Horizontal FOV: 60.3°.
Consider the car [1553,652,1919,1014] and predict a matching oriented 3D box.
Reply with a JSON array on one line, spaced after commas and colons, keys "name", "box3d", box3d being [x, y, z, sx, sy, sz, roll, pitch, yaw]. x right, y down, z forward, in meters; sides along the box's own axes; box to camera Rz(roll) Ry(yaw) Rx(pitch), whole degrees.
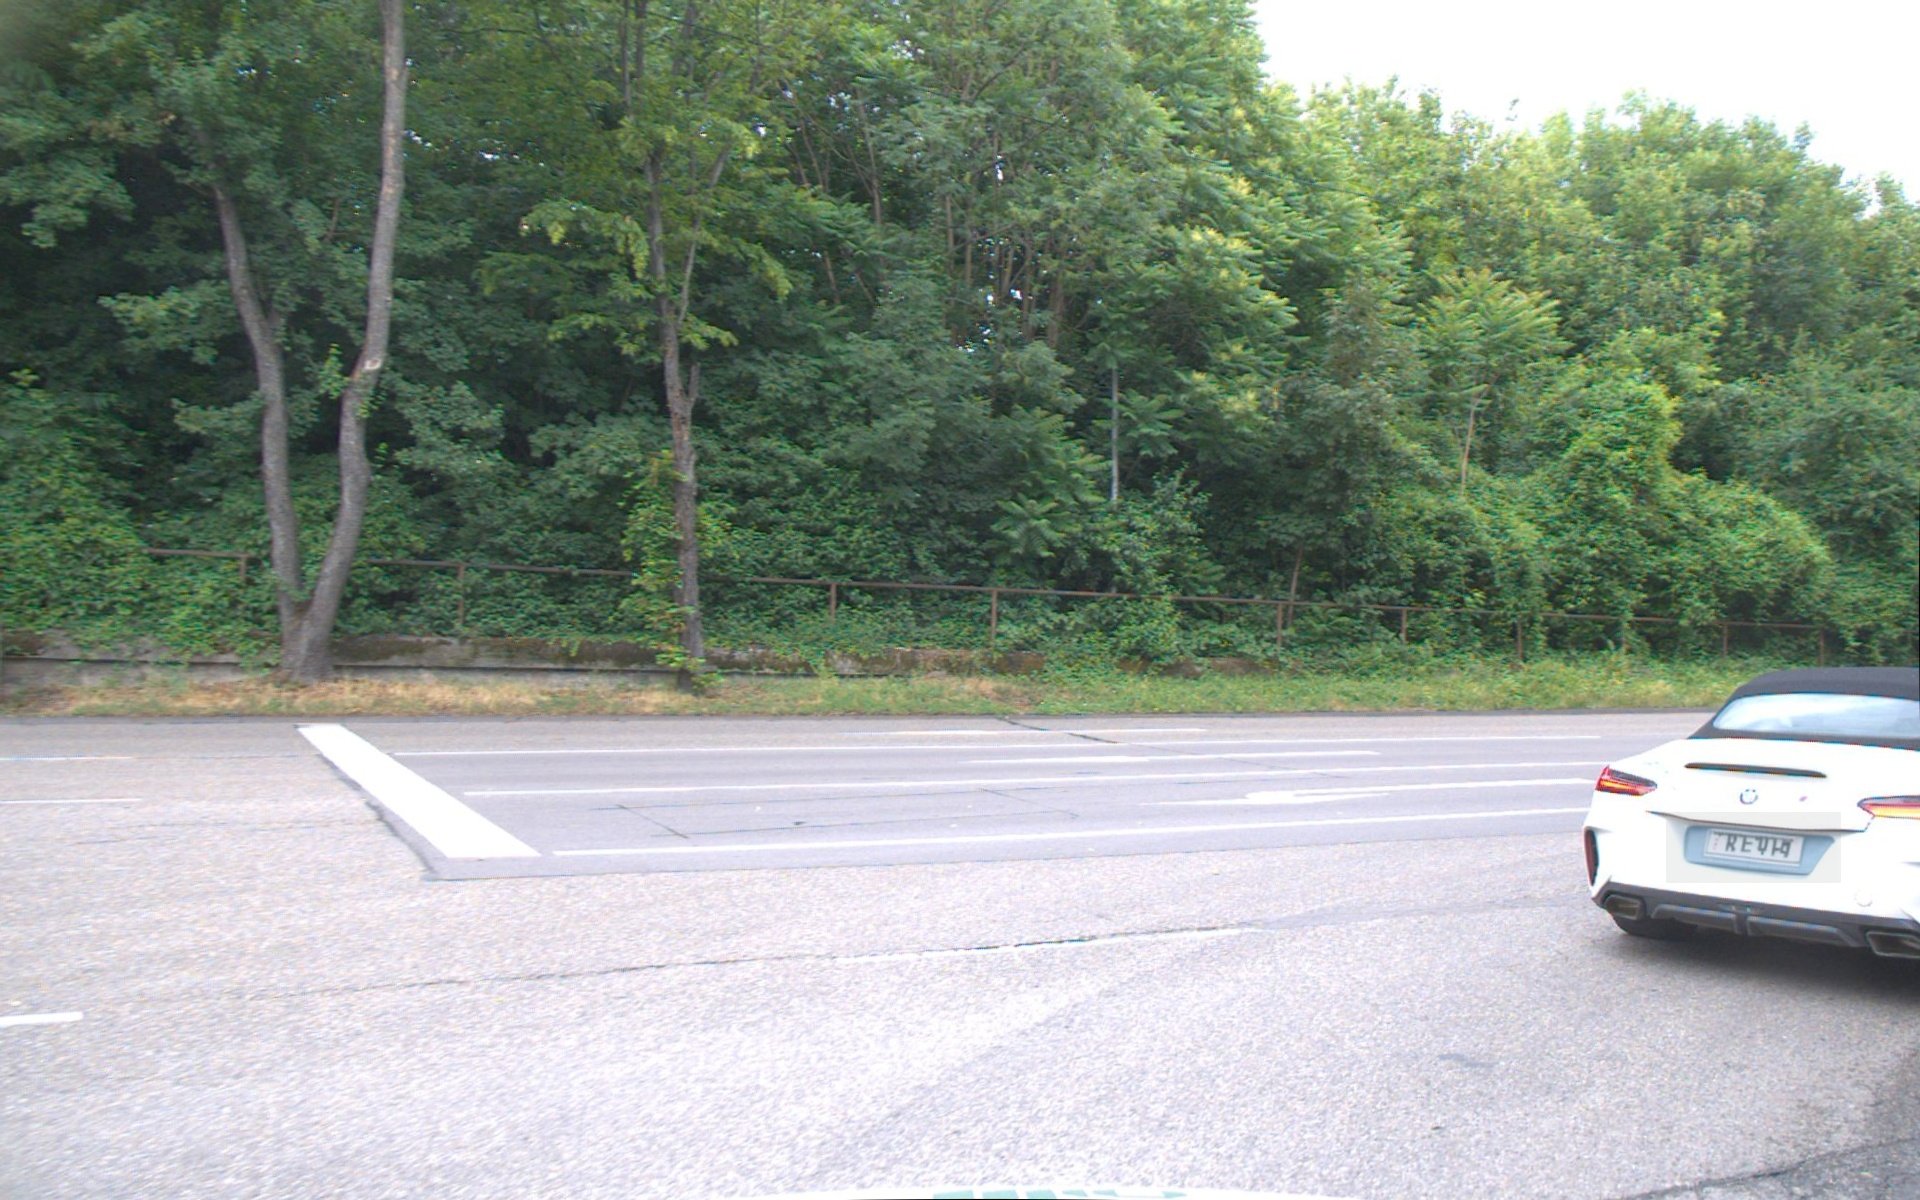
[{"name": "car", "box3d": [4.671, 0.947, 8.028, 3.841, 1.332, 1.851, 2, -1, -43]}]
